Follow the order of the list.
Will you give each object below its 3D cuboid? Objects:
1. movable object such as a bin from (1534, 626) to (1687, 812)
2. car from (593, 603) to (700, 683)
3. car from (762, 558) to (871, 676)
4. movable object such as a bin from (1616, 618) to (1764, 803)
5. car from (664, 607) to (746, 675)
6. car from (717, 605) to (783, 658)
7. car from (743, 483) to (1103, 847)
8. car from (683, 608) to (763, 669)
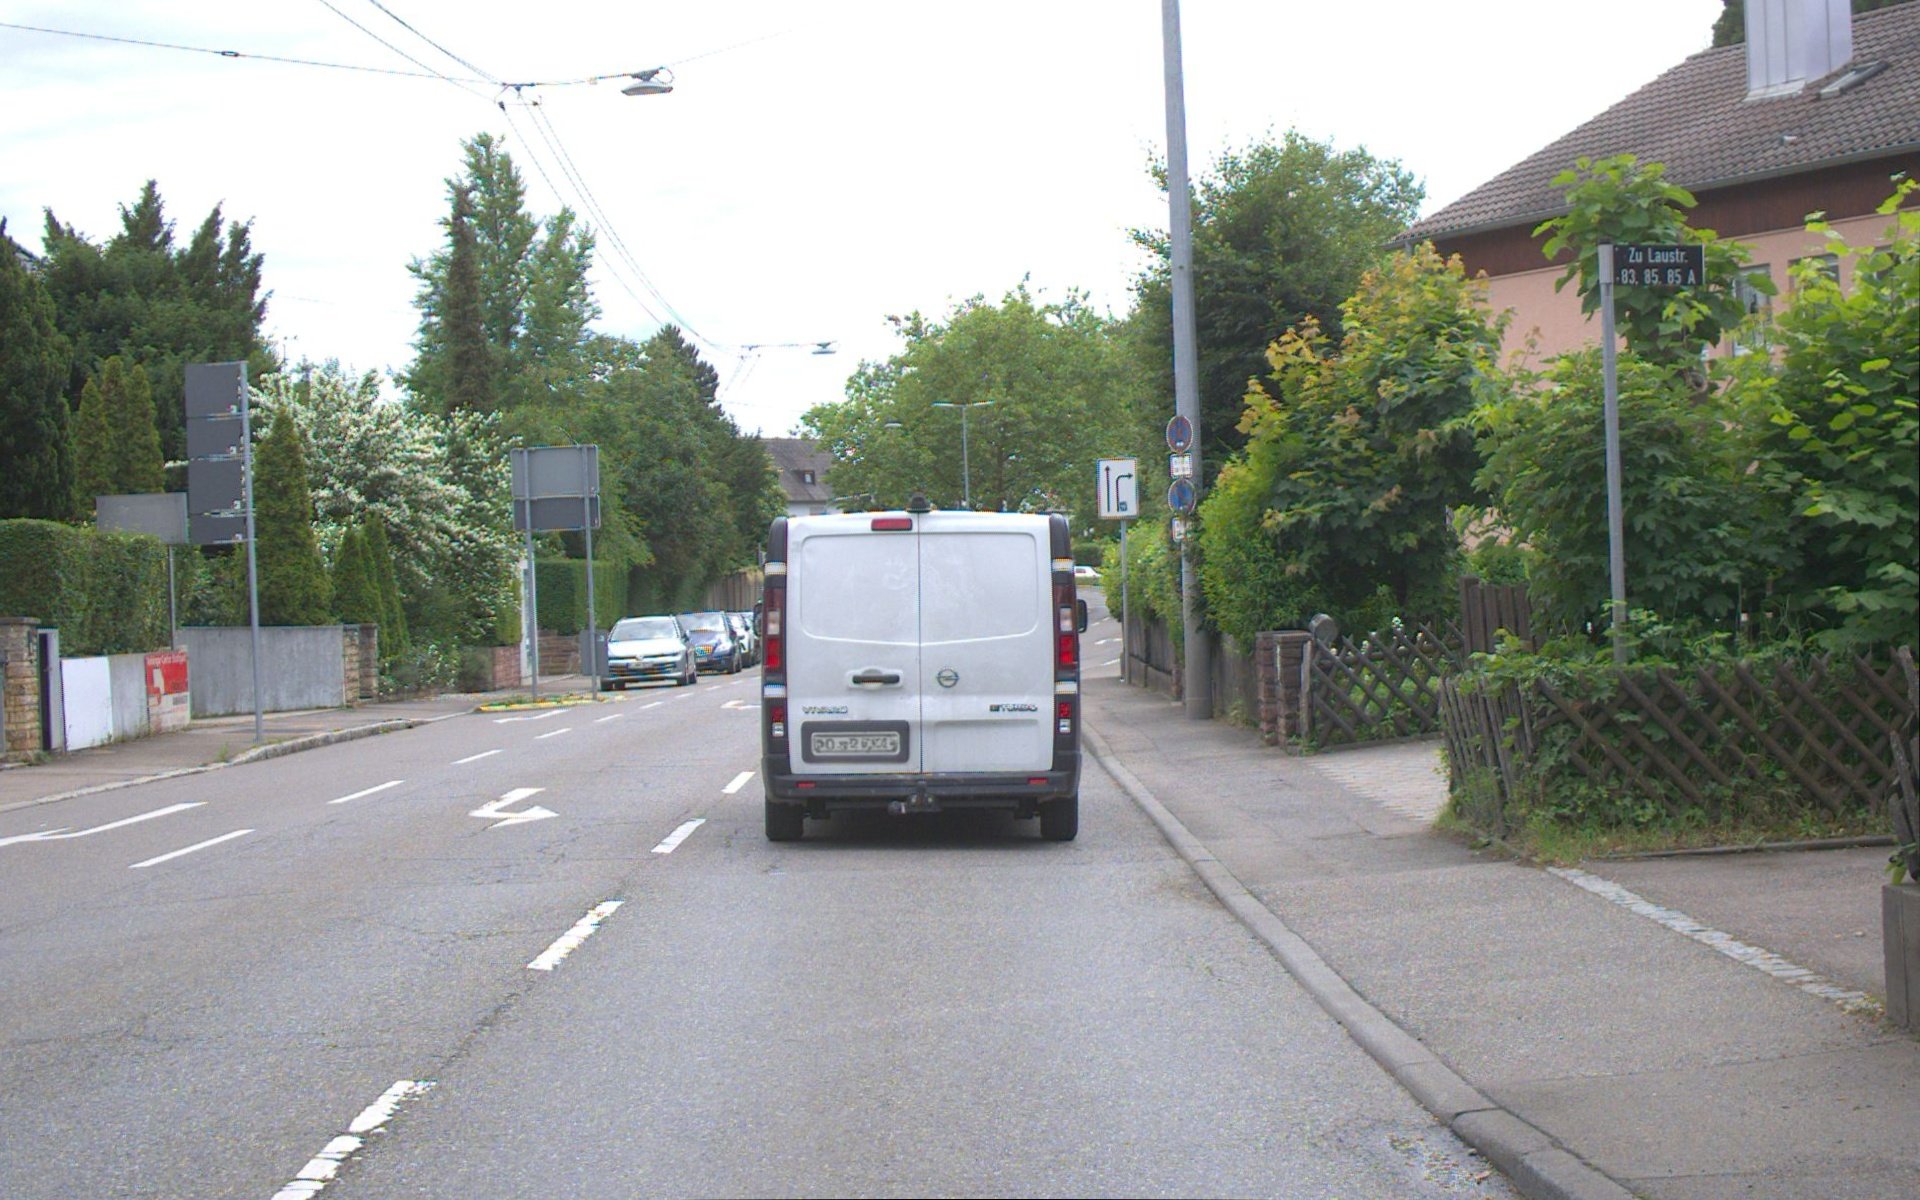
[{"bbox_3d":[3.524,0.636,18.652,0.446,0.953,0.686,-5,1,-20],"label":"movable object such as a bin"},{"bbox_3d":[-6.434,0.868,70.979,1.809,1.450,4.414,-4,0,-1],"label":"car"},{"bbox_3d":[-3.257,0.346,79.334,2.111,2.490,6.125,-2,1,1],"label":"car"},{"bbox_3d":[3.990,0.593,18.818,0.446,0.953,0.686,-5,1,-17],"label":"movable object such as a bin"},{"bbox_3d":[-6.325,1.013,85.719,1.678,1.551,3.971,-3,0,0],"label":"car"},{"bbox_3d":[-6.413,0.954,105.442,1.669,1.483,4.431,-3,0,0],"label":"car"},{"bbox_3d":[-0.245,0.356,21.794,2.006,2.031,5.010,0,0,-1],"label":"car"},{"bbox_3d":[-6.444,1.042,93.693,1.889,1.489,4.027,-3,0,-1],"label":"car"}]
